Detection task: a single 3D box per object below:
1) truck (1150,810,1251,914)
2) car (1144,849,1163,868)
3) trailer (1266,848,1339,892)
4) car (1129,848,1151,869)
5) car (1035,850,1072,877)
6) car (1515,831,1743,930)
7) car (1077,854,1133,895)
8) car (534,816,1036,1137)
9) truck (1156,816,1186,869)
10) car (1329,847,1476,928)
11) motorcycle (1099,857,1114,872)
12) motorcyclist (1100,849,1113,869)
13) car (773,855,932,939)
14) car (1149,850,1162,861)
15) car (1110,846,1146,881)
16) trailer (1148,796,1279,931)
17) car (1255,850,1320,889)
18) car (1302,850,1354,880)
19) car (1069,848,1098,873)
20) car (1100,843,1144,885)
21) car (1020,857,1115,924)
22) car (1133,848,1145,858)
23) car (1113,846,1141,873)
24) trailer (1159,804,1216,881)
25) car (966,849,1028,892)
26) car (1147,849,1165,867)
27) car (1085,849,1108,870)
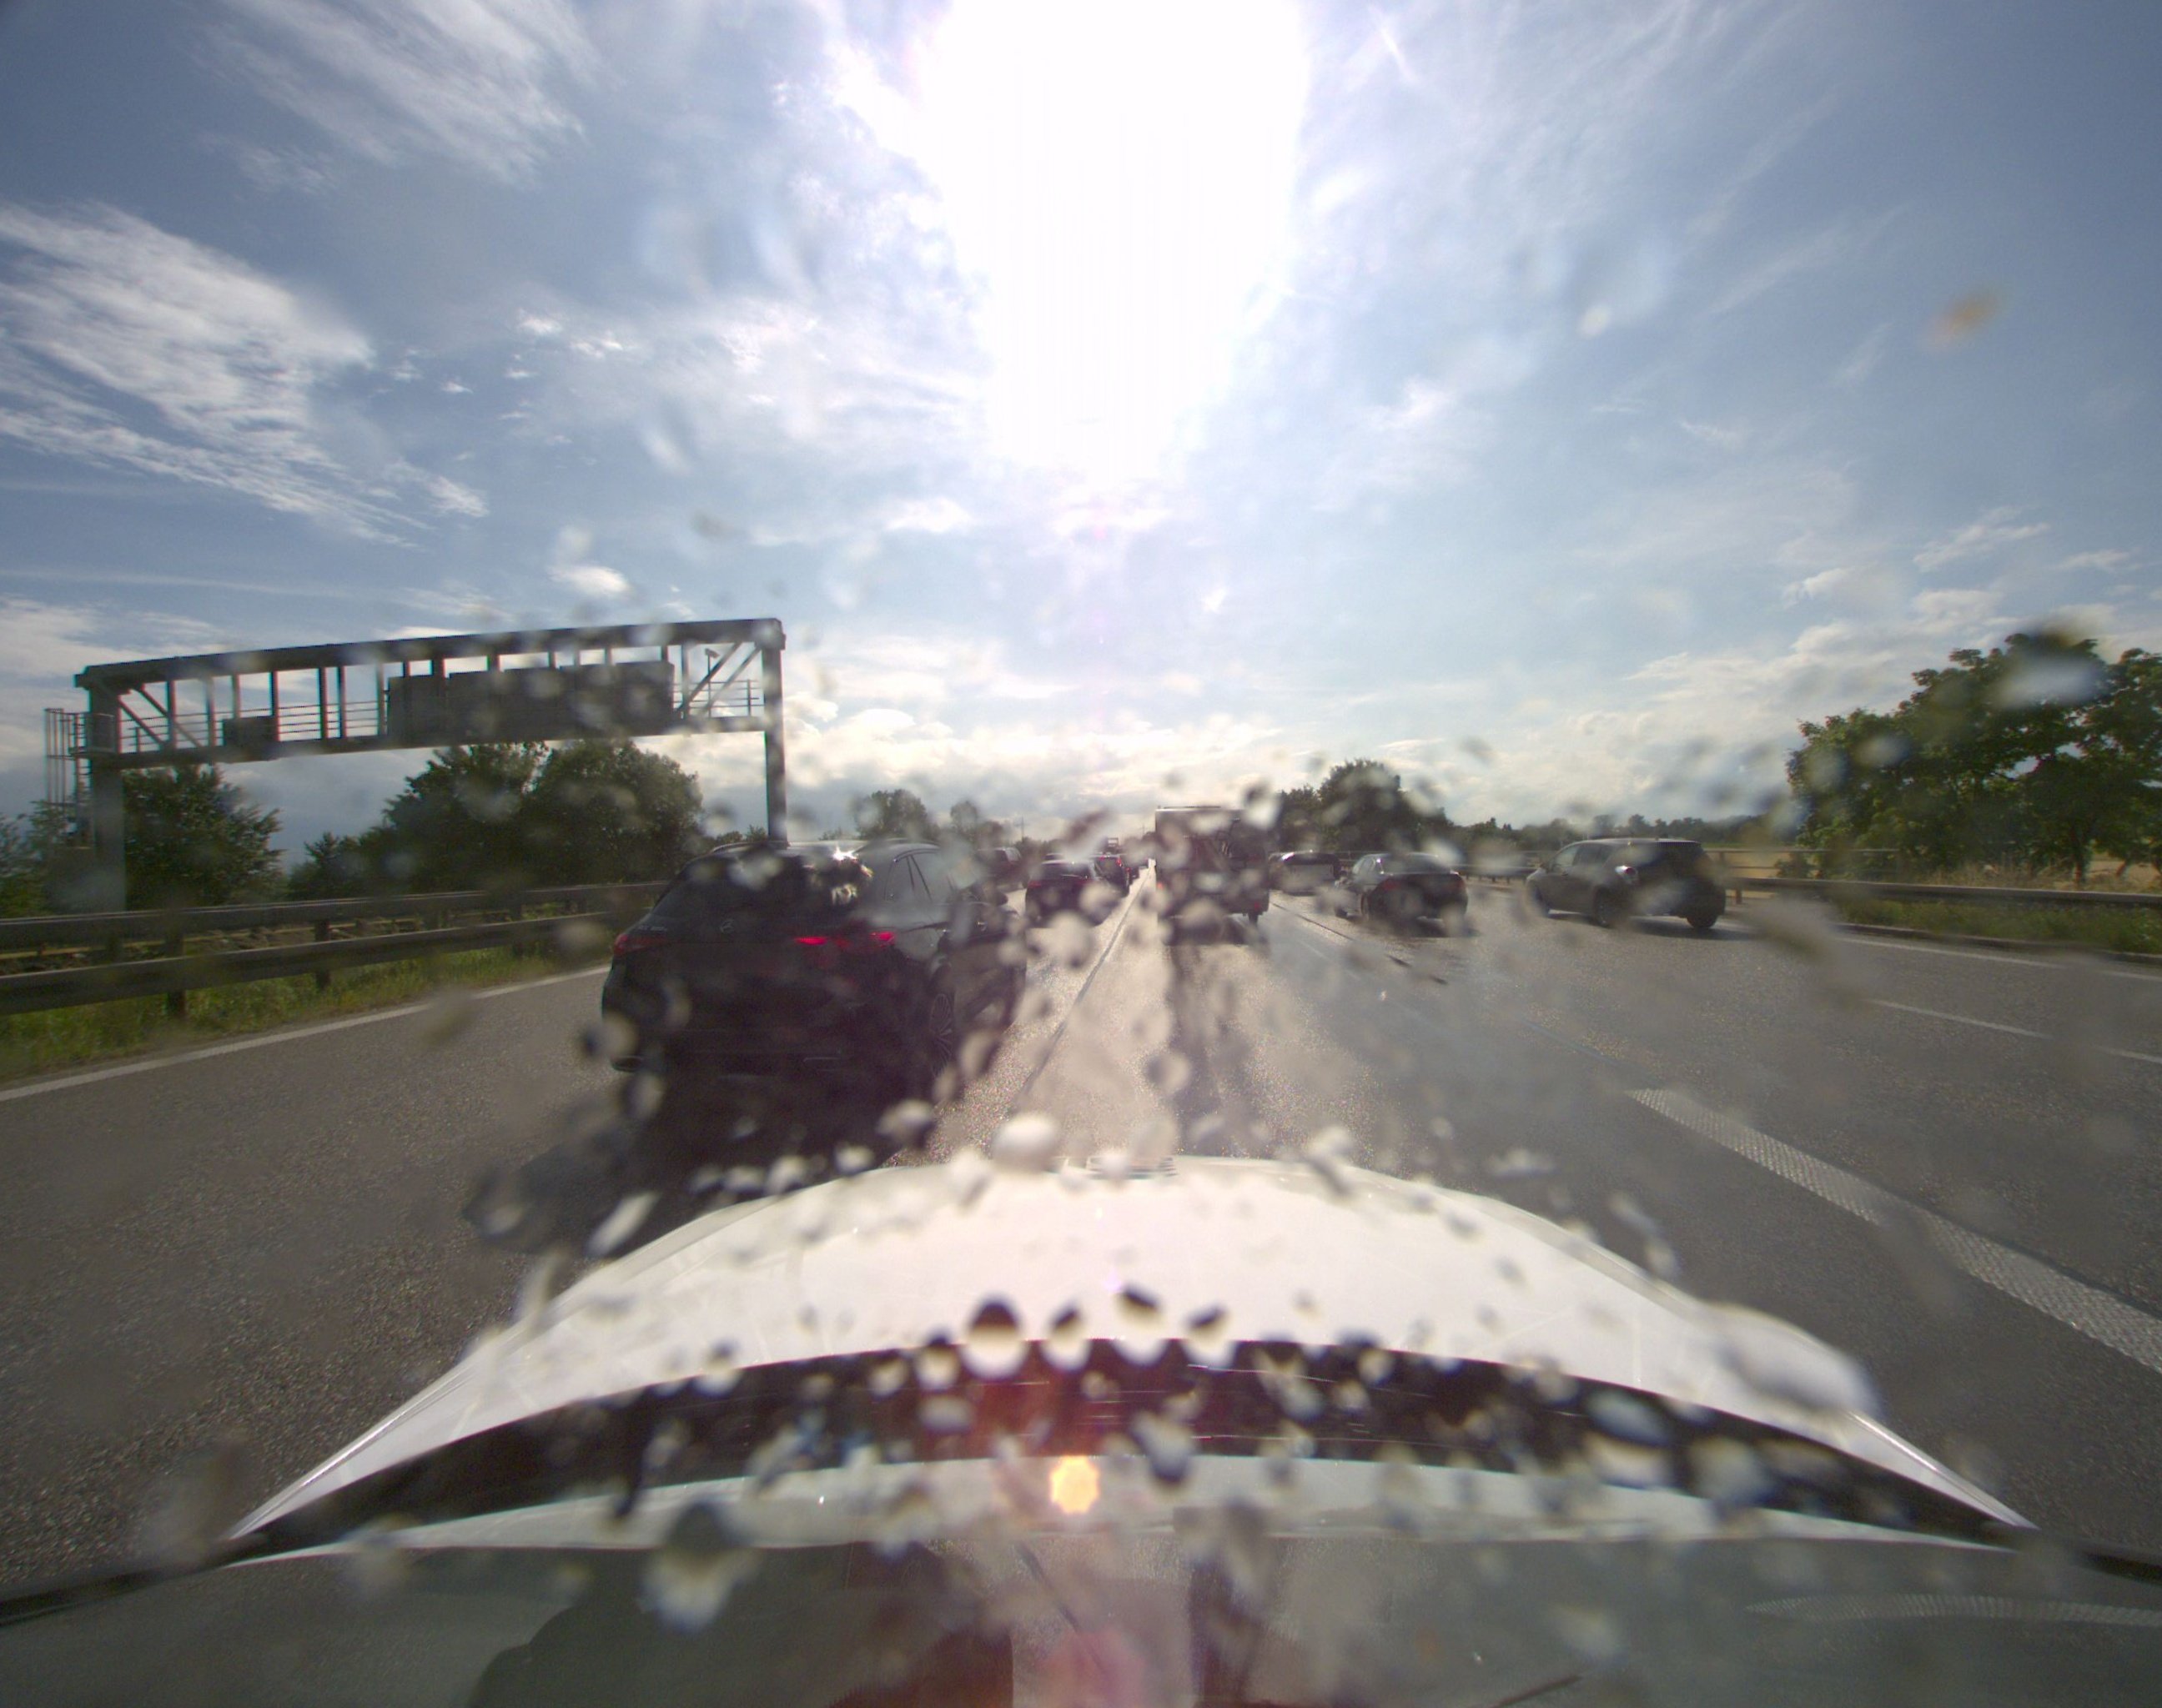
[{"bbox_3d":[3.131,0.199,22.402,2.363,2.477,5.764,-1,0,5],"label":"truck"},{"bbox_3d":[7.796,0.454,87.316,1.983,2.013,4.007,0,0,6],"label":"car"},{"bbox_3d":[7.952,0.546,29.576,1.846,1.442,4.154,-1,0,5],"label":"trailer"},{"bbox_3d":[5.896,0.435,81.093,1.983,2.013,4.007,0,0,6],"label":"car"},{"bbox_3d":[-1.860,0.630,55.774,1.983,1.772,4.007,0,0,6],"label":"car"},{"bbox_3d":[10.301,0.443,15.769,1.779,1.613,4.392,-1,0,6],"label":"car"},{"bbox_3d":[0.976,0.734,30.355,1.797,1.407,4.006,-1,0,5],"label":"car"},{"bbox_3d":[-1.720,0.659,6.506,1.983,1.661,4.413,-1,0,6],"label":"car"},{"bbox_3d":[8.598,-1.023,78.484,2.491,4.829,7.552,-1,0,4],"label":"truck"},{"bbox_3d":[6.332,0.600,16.482,1.732,1.420,3.841,-1,0,5],"label":"car"},{"bbox_3d":[2.203,0.904,70.071,1.068,1.271,2.695,-1,0,6],"label":"motorcycle"},{"bbox_3d":[2.208,0.404,70.239,1.058,1.718,0.786,-1,-1,5],"label":"motorcyclist"},{"bbox_3d":[-4.668,0.812,17.327,1.748,1.516,4.216,-1,0,6],"label":"car"},{"bbox_3d":[12.186,0.298,133.881,1.868,1.760,4.002,-1,0,2],"label":"car"},{"bbox_3d":[2.948,0.576,50.395,1.983,2.013,4.007,2,0,6],"label":"car"},{"bbox_3d":[2.750,0.188,18.357,2.363,2.483,6.532,-1,0,5],"label":"trailer"},{"bbox_3d":[8.267,0.577,32.939,1.846,1.442,4.264,-1,0,5],"label":"car"},{"bbox_3d":[12.557,0.539,41.701,1.762,1.401,4.297,-1,0,6],"label":"car"},{"bbox_3d":[0.271,0.566,70.078,1.983,2.013,4.007,2,0,6],"label":"car"},{"bbox_3d":[2.136,0.483,41.517,1.983,2.013,4.007,-1,0,6],"label":"car"},{"bbox_3d":[-0.212,0.790,19.487,1.748,1.387,3.952,-1,0,6],"label":"car"},{"bbox_3d":[9.757,-0.179,137.533,1.868,1.760,4.002,-1,0,2],"label":"car"},{"bbox_3d":[3.653,0.443,63.932,1.983,2.013,4.007,-1,0,6],"label":"car"},{"bbox_3d":[6.377,-0.642,48.730,2.990,4.166,8.554,-1,0,7],"label":"trailer"},{"bbox_3d":[-3.576,0.681,35.362,1.985,1.720,4.004,-1,0,4],"label":"car"},{"bbox_3d":[9.192,0.494,99.828,1.983,2.013,4.007,2,0,6],"label":"car"},{"bbox_3d":[1.616,0.539,84.267,1.983,2.013,4.007,-3,0,6],"label":"car"}]
